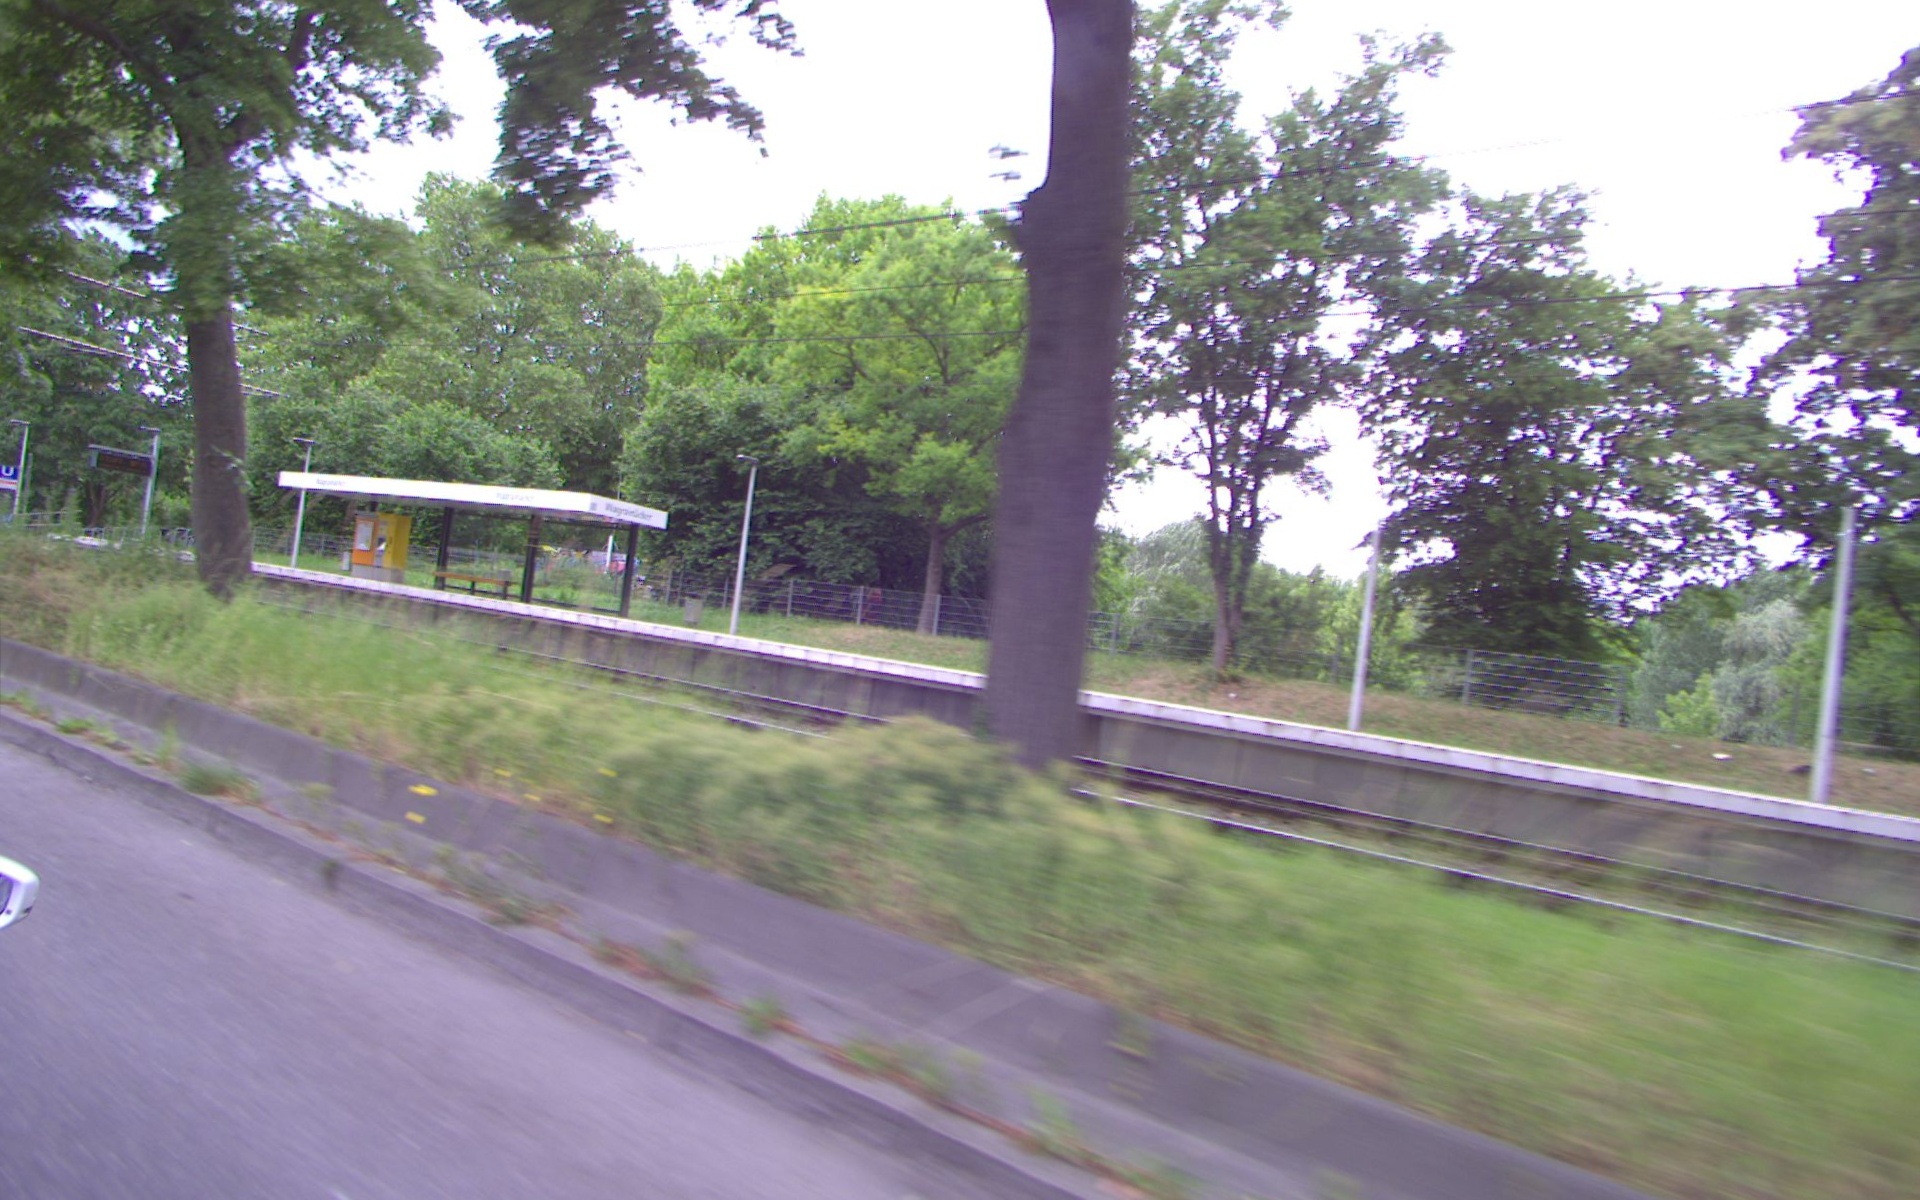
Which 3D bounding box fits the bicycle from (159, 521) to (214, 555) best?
[{"bbox_3d":[-29.328,-2.342,38.177,0.442,0.984,1.514,7,-3,25],"label":"bicycle"}]
